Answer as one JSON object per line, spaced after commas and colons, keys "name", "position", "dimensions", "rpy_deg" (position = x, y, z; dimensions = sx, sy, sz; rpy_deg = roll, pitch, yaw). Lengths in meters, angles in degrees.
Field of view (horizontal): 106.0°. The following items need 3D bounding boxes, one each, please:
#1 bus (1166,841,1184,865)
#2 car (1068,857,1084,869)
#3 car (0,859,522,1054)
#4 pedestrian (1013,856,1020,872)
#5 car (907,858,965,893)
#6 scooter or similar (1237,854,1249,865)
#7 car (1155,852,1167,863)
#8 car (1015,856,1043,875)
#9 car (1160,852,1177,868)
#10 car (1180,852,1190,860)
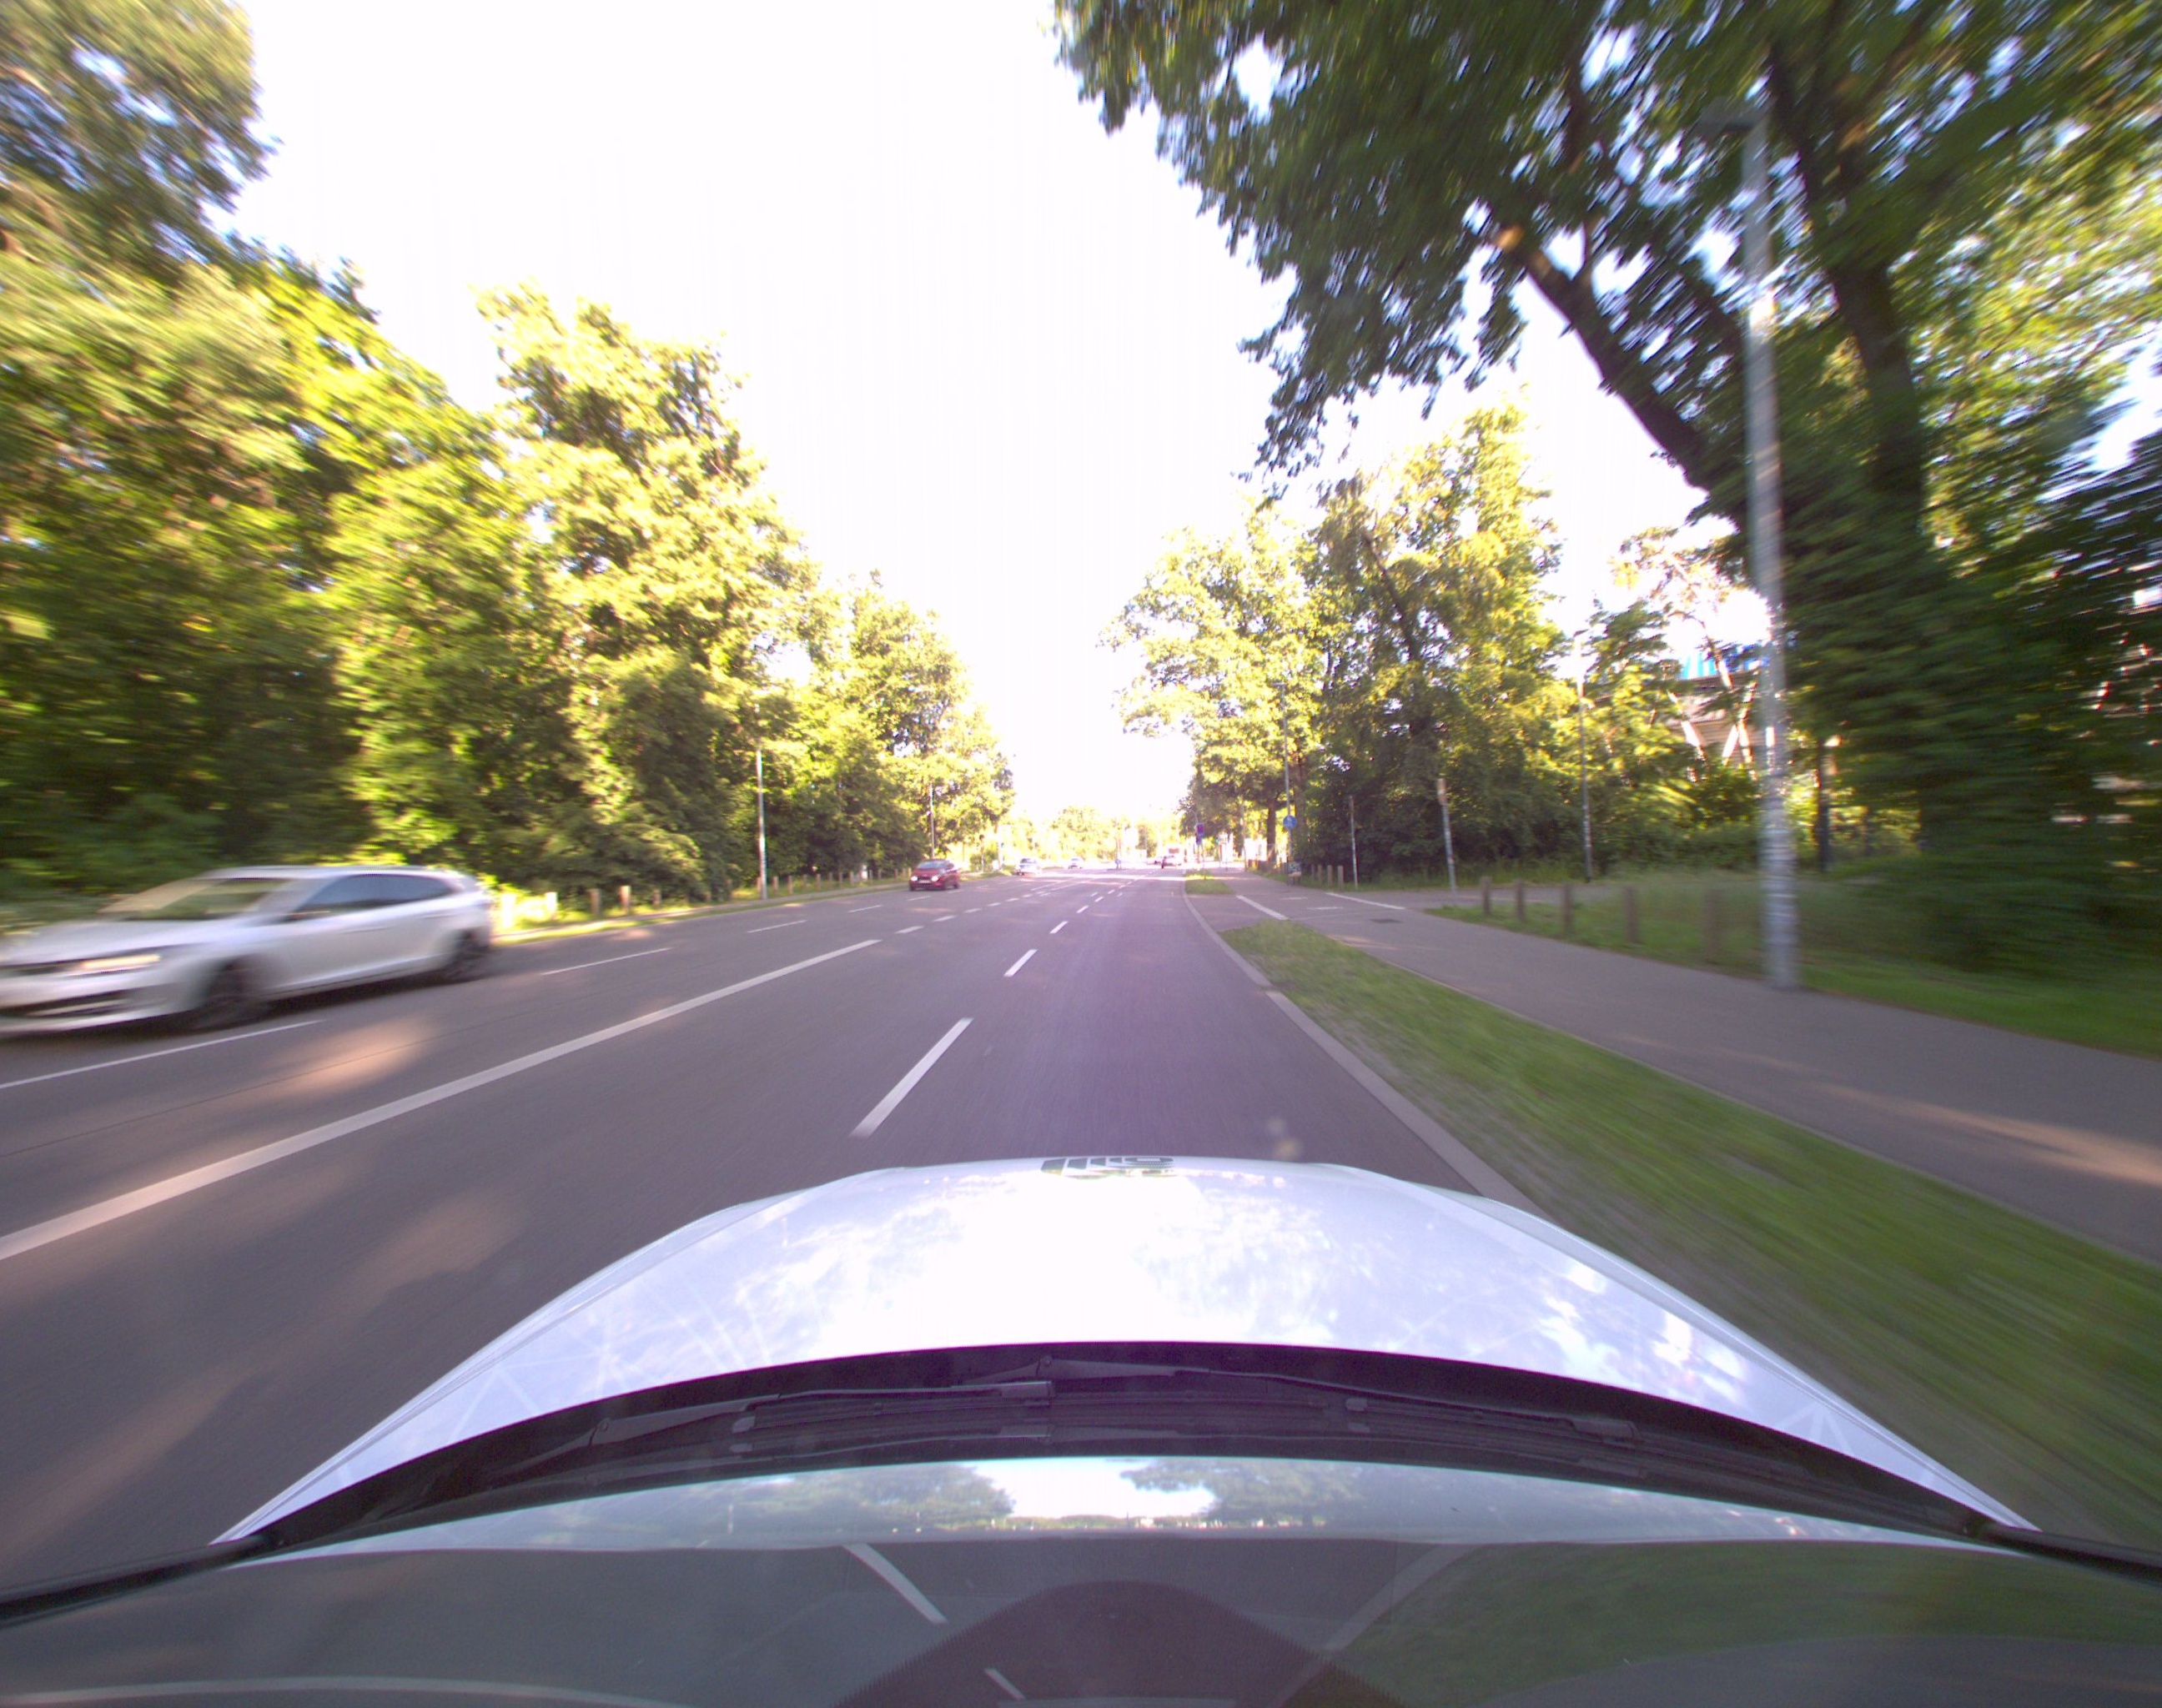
{"name": "bus", "position": [14.317, -0.181, 123.587], "dimensions": [2.591, 3.368, 7.991], "rpy_deg": [-1, 0, 7]}
{"name": "car", "position": [-0.606, 1.195, 105.176], "dimensions": [1.703, 1.464, 4.105], "rpy_deg": [0, 0, 4]}
{"name": "car", "position": [-8.531, 0.847, 8.786], "dimensions": [1.775, 1.522, 4.401], "rpy_deg": [-1, 0, 3]}
{"name": "pedestrian", "position": [-8.135, 1.243, 102.763], "dimensions": [0.609, 1.909, 1.108], "rpy_deg": [-2, -1, 7]}
{"name": "car", "position": [-6.765, 0.977, 38.388], "dimensions": [1.655, 1.518, 3.813], "rpy_deg": [-2, 0, 5]}
{"name": "scooter or similar", "position": [20.660, 0.690, 103.886], "dimensions": [1.609, 1.256, 0.562], "rpy_deg": [-1, -1, -45]}
{"name": "car", "position": [13.887, 0.628, 140.539], "dimensions": [1.870, 1.765, 4.008], "rpy_deg": [-2, 0, 7]}
{"name": "car", "position": [-4.302, 0.938, 68.083], "dimensions": [1.647, 1.508, 4.006], "rpy_deg": [-2, 0, 5]}
{"name": "car", "position": [10.357, 0.682, 96.468], "dimensions": [1.870, 1.765, 4.008], "rpy_deg": [-2, 0, 7]}
{"name": "car", "position": [22.384, 0.359, 175.860], "dimensions": [1.851, 1.684, 3.784], "rpy_deg": [-3, 0, 11]}
